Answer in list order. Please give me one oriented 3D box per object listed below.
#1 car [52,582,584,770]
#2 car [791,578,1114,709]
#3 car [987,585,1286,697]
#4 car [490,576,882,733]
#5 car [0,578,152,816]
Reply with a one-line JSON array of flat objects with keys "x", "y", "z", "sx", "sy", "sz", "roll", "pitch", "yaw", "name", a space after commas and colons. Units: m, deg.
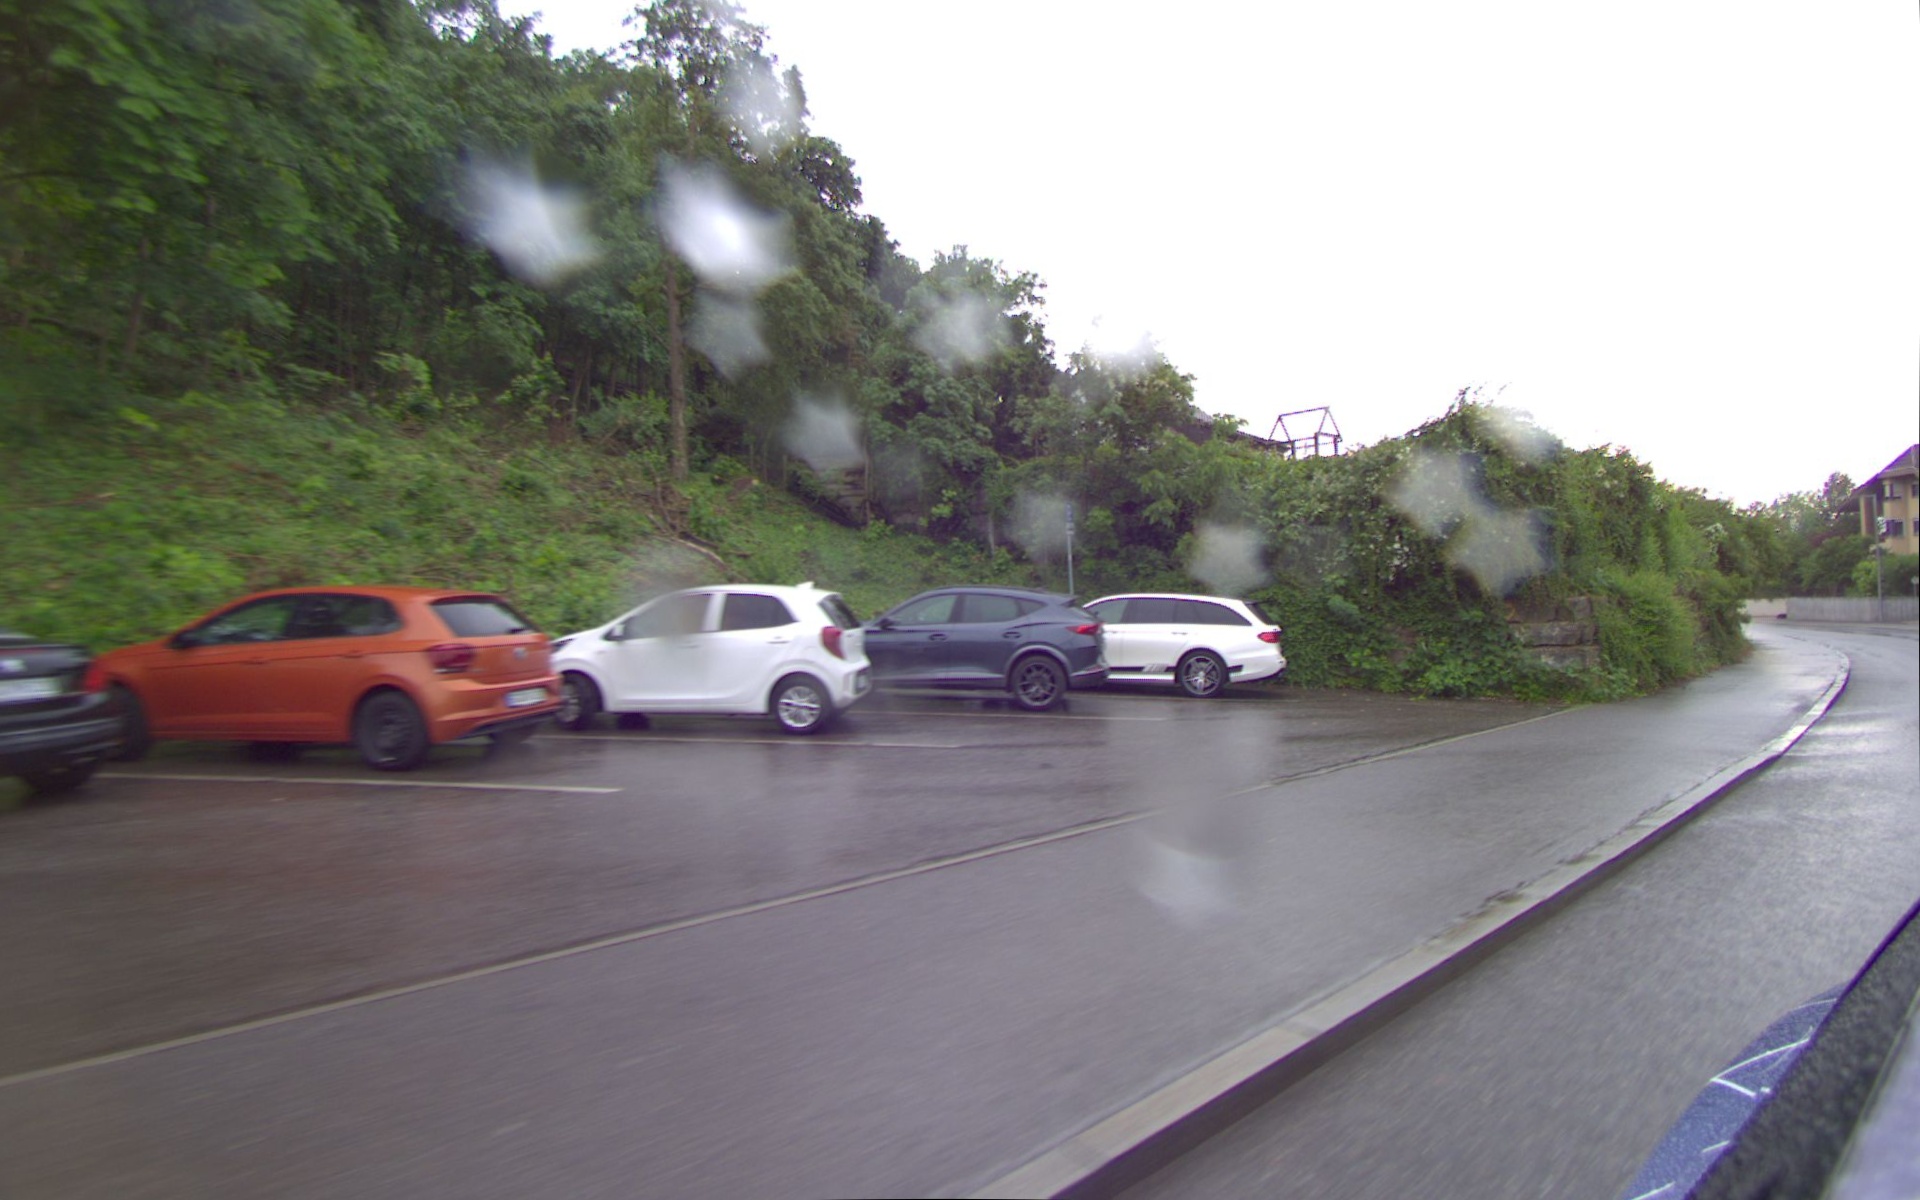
[{"x": -5.432, "y": 0.564, "z": 8.785, "sx": 3.733, "sy": 1.419, "sz": 1.713, "roll": 0, "pitch": 0, "yaw": 9, "name": "car"}, {"x": -0.023, "y": 0.509, "z": 13.375, "sx": 4.025, "sy": 1.526, "sz": 1.747, "roll": 1, "pitch": 0, "yaw": 11, "name": "car"}, {"x": 2.697, "y": 0.544, "z": 15.332, "sx": 4.260, "sy": 1.482, "sz": 1.801, "roll": 1, "pitch": 0, "yaw": 19, "name": "car"}, {"x": -2.819, "y": 0.523, "z": 10.924, "sx": 3.727, "sy": 1.498, "sz": 1.750, "roll": 1, "pitch": 0, "yaw": 5, "name": "car"}, {"x": -7.573, "y": 0.576, "z": 6.439, "sx": 3.778, "sy": 1.419, "sz": 1.713, "roll": 0, "pitch": 0, "yaw": 8, "name": "car"}]
